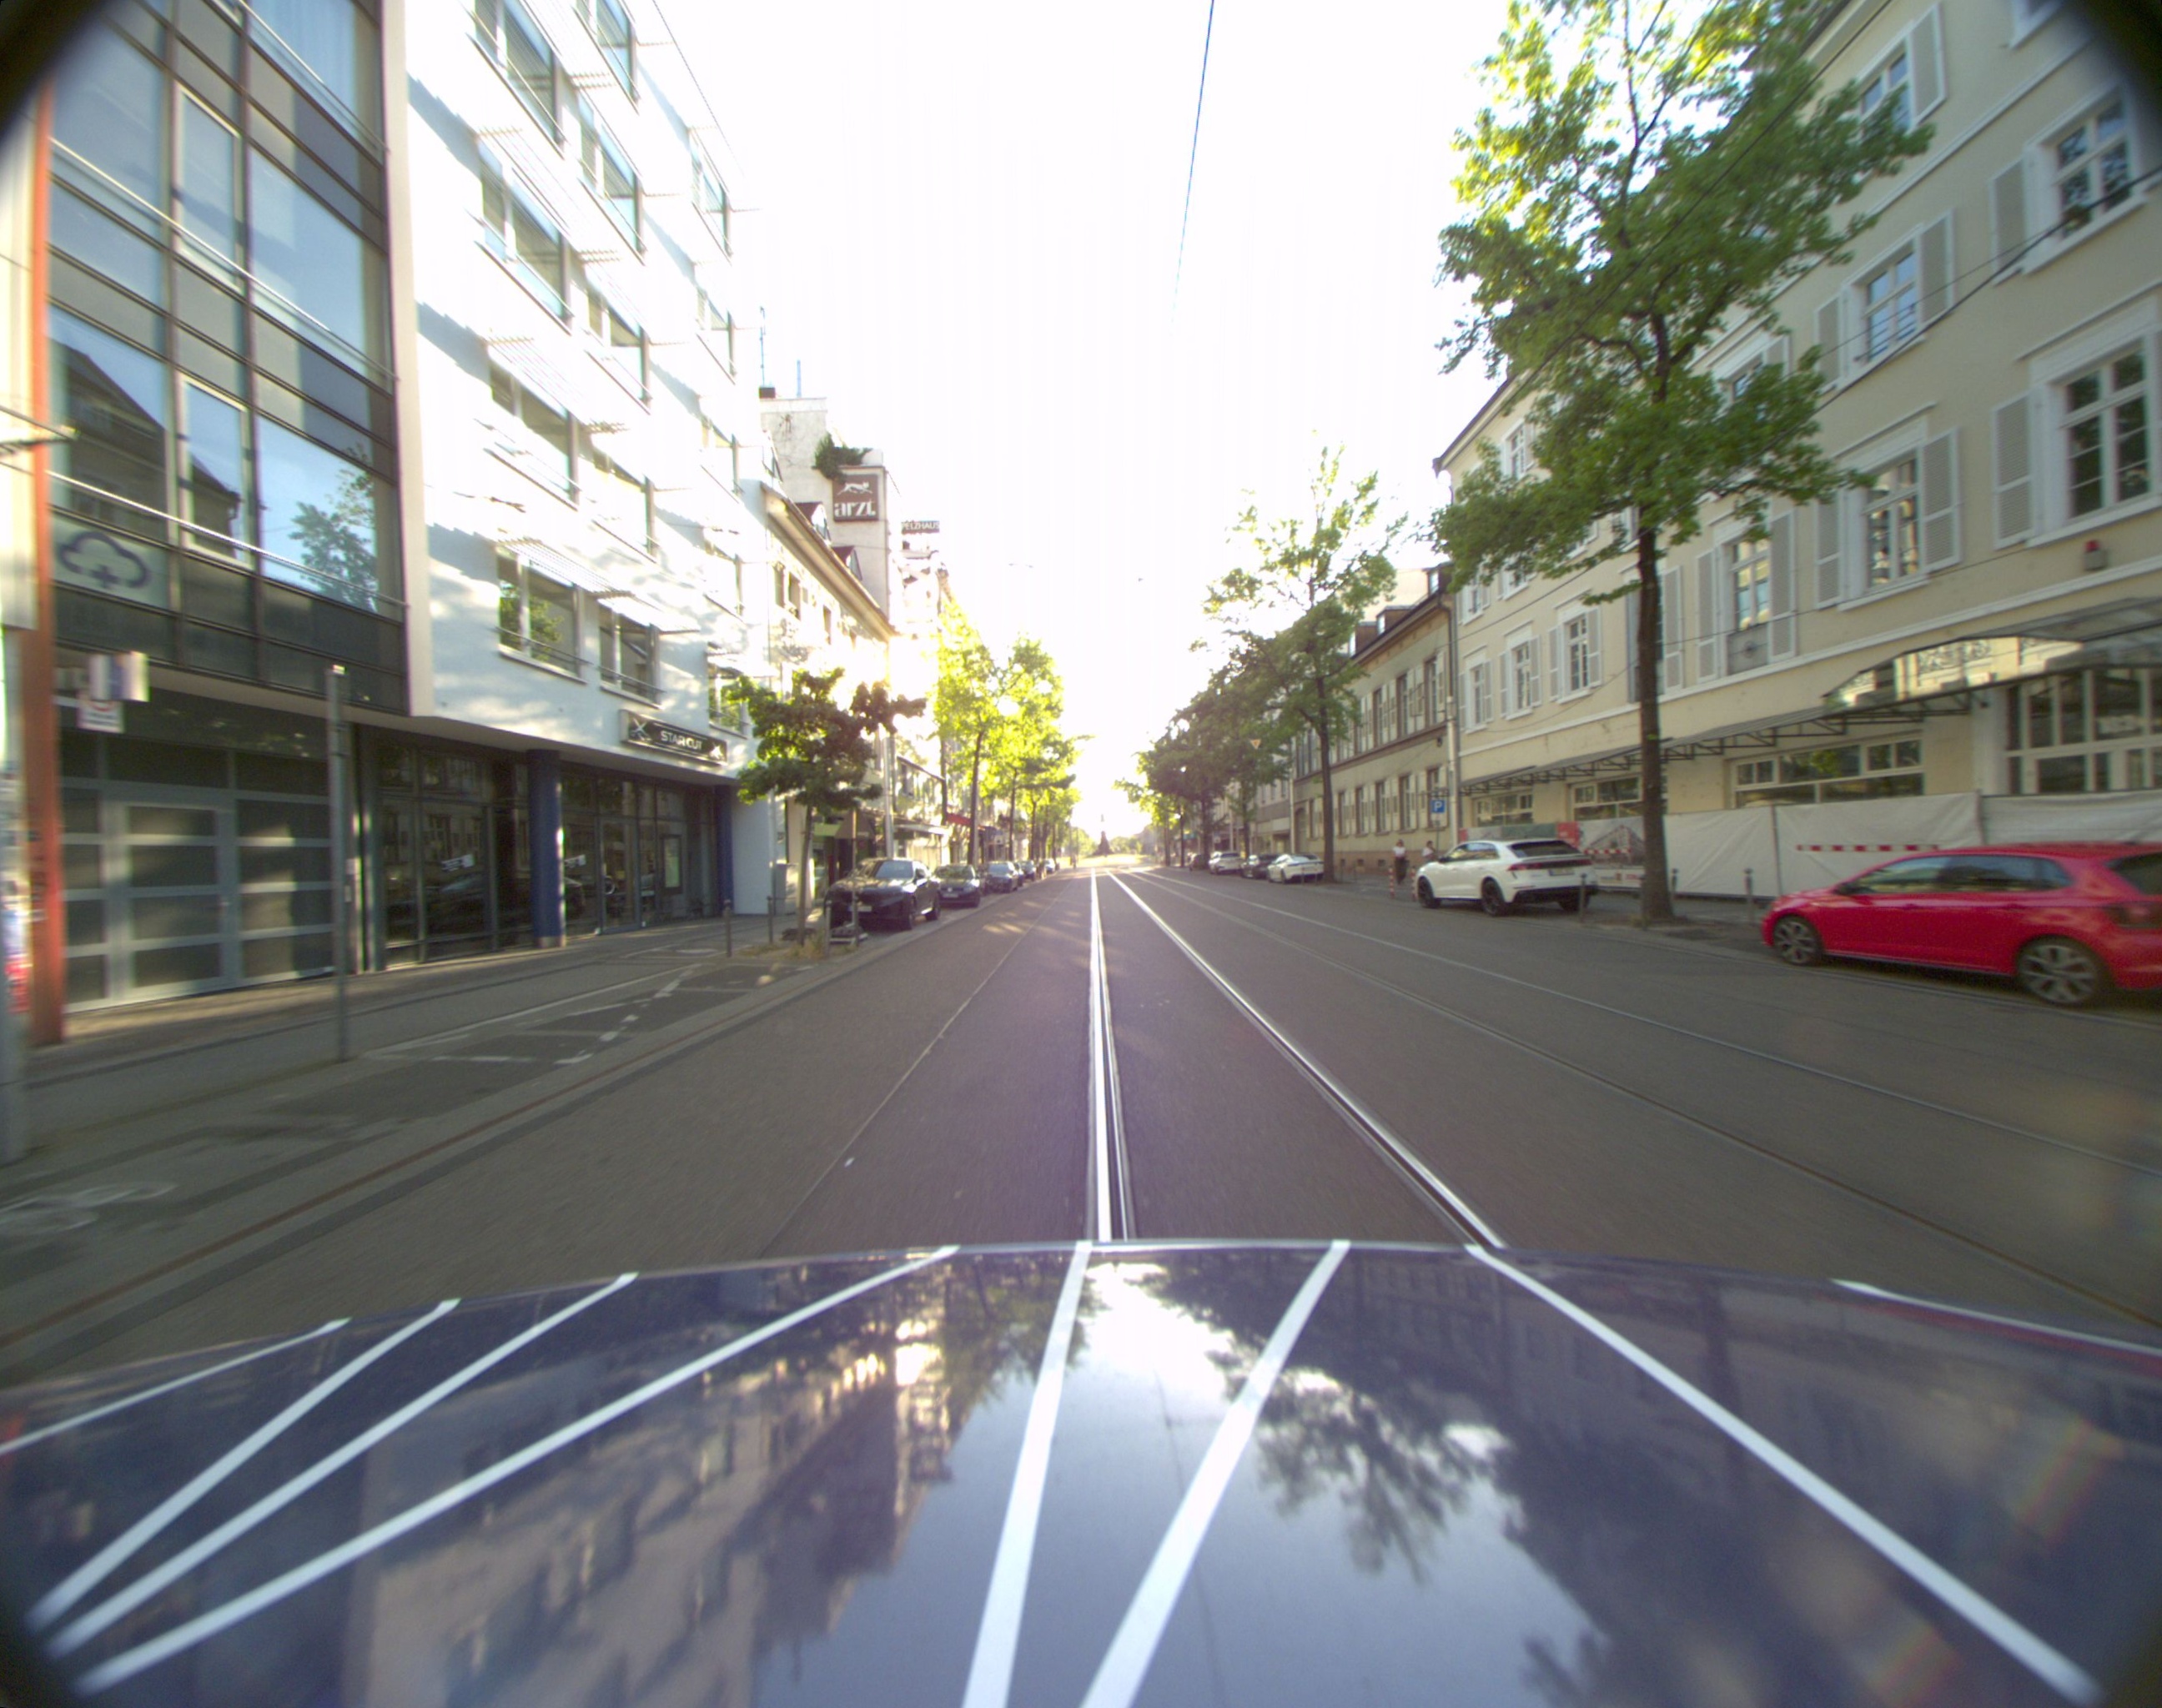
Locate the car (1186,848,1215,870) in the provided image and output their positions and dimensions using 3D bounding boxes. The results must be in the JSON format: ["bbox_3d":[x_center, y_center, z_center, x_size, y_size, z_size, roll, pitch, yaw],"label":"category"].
[{"bbox_3d":[11.004,0.467,70.310,1.931,1.946,4.766,-1,0,1],"label":"car"}]

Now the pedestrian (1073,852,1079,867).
[{"bbox_3d":[-0.605,0.729,98.345,0.705,1.858,0.792,-2,1,-3],"label":"pedestrian"}]

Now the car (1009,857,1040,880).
[{"bbox_3d":[-3.950,1.017,53.815,1.798,1.502,3.986,1,0,1],"label":"car"}]

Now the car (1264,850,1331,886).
[{"bbox_3d":[10.184,0.628,36.080,1.897,1.458,4.617,-5,0,2],"label":"car"}]

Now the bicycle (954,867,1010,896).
[{"bbox_3d":[-4.360,1.195,33.501,2.325,1.181,0.751,-2,0,2],"label":"bicycle"}]

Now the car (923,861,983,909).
[{"bbox_3d":[-4.448,1.047,26.989,1.871,1.502,4.242,1,0,-7],"label":"car"}]

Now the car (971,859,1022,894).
[{"bbox_3d":[-4.003,1.055,36.732,1.770,1.502,4.287,-2,0,2],"label":"car"}]

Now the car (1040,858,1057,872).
[{"bbox_3d":[-3.333,1.089,78.122,1.564,1.391,3.698,1,0,1],"label":"car"}]

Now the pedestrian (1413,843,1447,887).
[{"bbox_3d":[12.989,0.403,28.264,0.746,1.571,0.933,-4,1,1],"label":"pedestrian"}]

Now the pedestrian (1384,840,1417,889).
[{"bbox_3d":[11.978,0.391,28.498,0.746,1.732,0.933,-4,1,2],"label":"pedestrian"}]

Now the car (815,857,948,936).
[{"bbox_3d":[-4.812,0.952,19.140,1.985,1.678,4.874,1,0,1],"label":"car"}]

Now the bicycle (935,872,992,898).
[{"bbox_3d":[-4.876,1.286,31.589,2.249,0.982,0.615,-2,0,2],"label":"bicycle"}]

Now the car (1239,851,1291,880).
[{"bbox_3d":[10.530,0.630,43.845,1.745,1.458,4.342,-4,0,-2],"label":"car"}]

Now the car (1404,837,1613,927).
[{"bbox_3d":[9.658,0.561,17.762,1.870,1.679,4.950,-4,0,-2],"label":"car"}]

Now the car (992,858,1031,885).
[{"bbox_3d":[-4.082,1.012,45.256,1.869,1.502,4.287,1,0,1],"label":"car"}]

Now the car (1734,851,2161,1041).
[{"bbox_3d":[9.492,0.728,8.008,1.664,1.397,4.141,-4,0,2],"label":"car"}]

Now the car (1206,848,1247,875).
[{"bbox_3d":[10.556,0.501,55.439,1.952,1.731,4.766,-4,0,1],"label":"car"}]
